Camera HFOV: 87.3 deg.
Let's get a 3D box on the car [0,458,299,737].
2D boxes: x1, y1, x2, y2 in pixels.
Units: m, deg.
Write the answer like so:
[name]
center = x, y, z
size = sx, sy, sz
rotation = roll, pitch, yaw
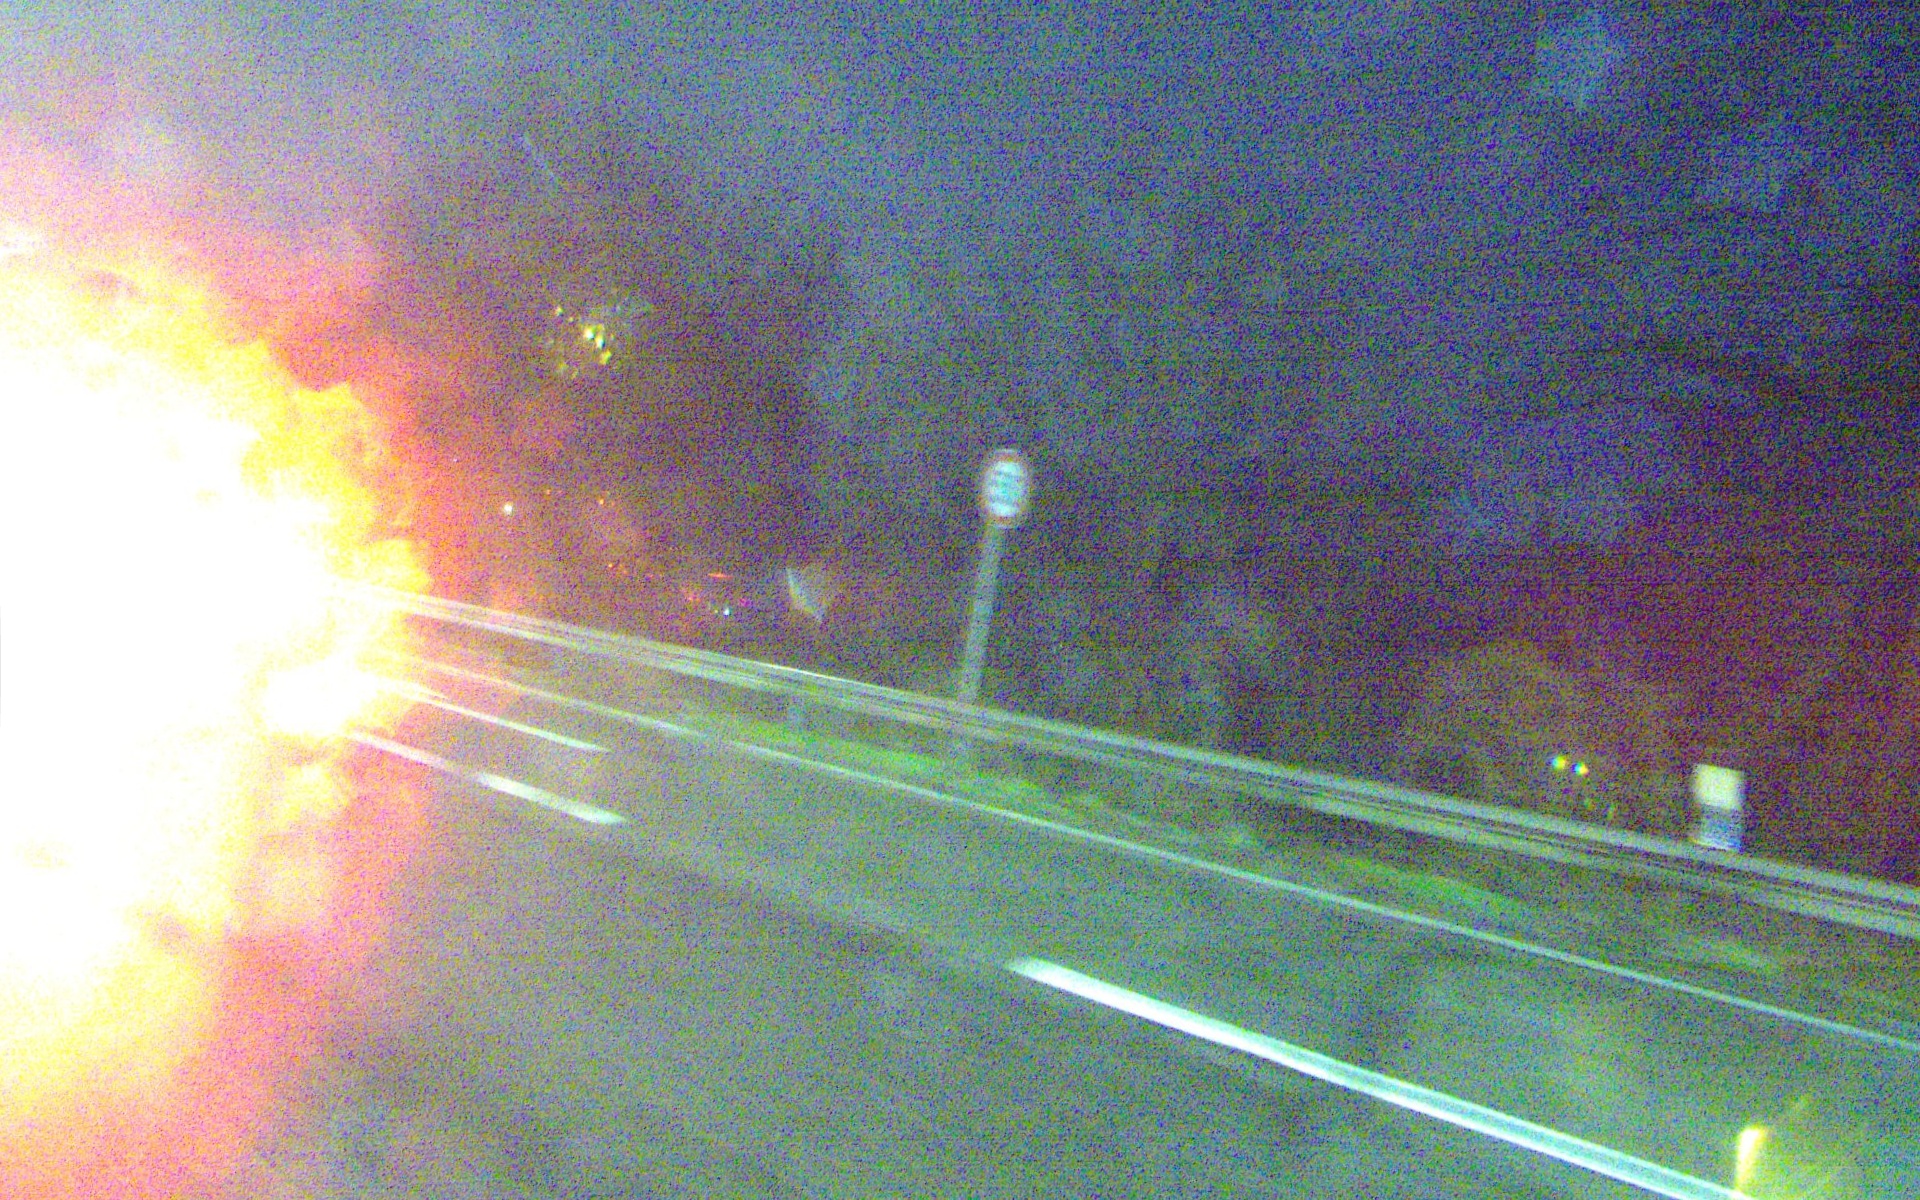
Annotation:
[car]
center = -6.769, -0.141, 7.193
size = 3.712, 1.582, 1.744
rotation = 7, -2, 29
